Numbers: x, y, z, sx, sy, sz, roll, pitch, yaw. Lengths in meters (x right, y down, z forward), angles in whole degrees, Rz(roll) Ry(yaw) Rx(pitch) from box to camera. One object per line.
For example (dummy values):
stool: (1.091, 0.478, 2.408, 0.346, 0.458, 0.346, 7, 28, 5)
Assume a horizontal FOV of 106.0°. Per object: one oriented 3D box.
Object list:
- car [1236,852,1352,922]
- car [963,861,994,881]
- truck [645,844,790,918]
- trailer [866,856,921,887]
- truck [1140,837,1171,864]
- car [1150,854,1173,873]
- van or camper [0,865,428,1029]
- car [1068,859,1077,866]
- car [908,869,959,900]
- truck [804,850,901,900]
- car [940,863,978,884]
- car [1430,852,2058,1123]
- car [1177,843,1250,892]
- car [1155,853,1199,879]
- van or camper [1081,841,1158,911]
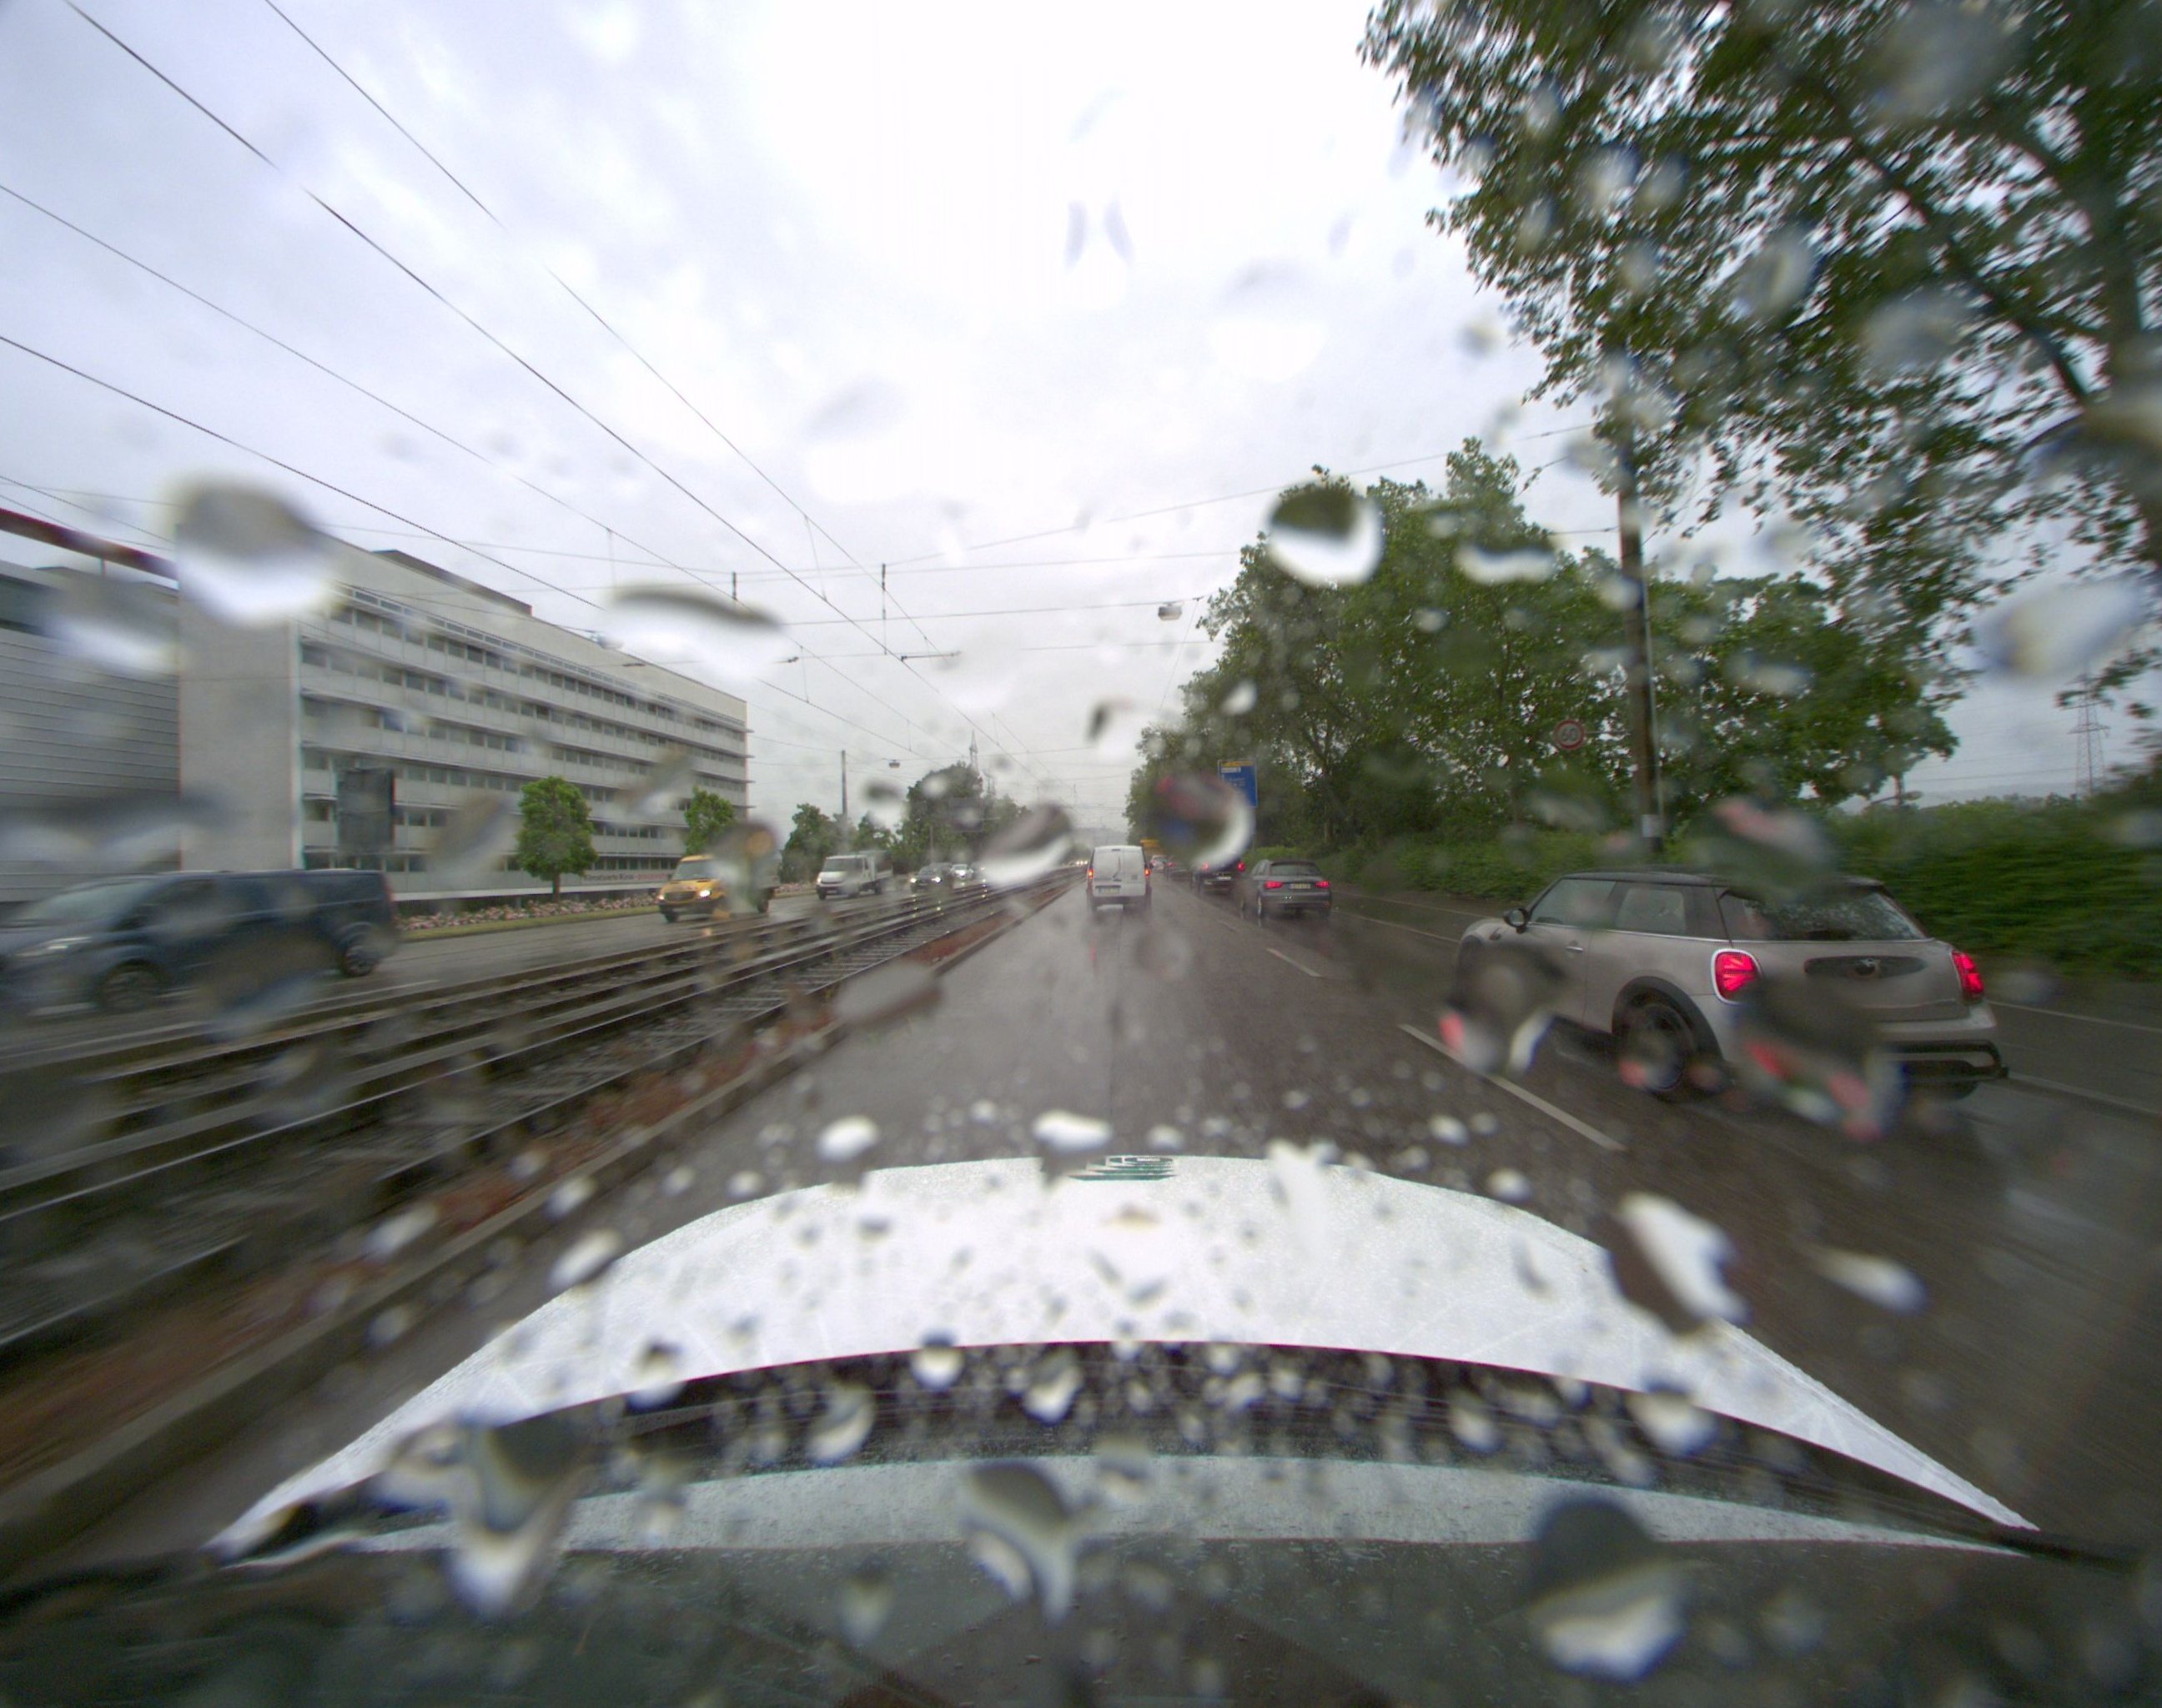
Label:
car: (5.172, 0.736, 20.342, 1.960, 1.528, 3.992, -1, 0, 2)
car: (-9.753, 1.624, 77.975, 1.985, 1.721, 4.886, -3, 0, 3)
truck: (-13.222, 0.923, 30.186, 2.217, 2.462, 6.074, 0, 0, 5)
trailer: (-11.357, 1.054, 49.509, 2.108, 1.793, 3.842, 0, 0, 6)
truck: (7.979, -0.328, 87.901, 3.100, 2.773, 6.334, -1, 0, 3)
car: (6.618, 0.776, 67.306, 1.810, 1.414, 3.782, -1, 0, 4)
van or camper: (-14.157, 1.255, 13.146, 2.294, 2.013, 5.692, -3, -1, 4)
car: (-2.433, 2.432, 233.235, 1.984, 1.618, 4.259, -2, 0, 5)
car: (-8.468, 1.718, 47.168, 1.811, 1.623, 4.540, -2, -1, 3)
truck: (-12.076, 1.068, 43.752, 2.422, 2.458, 7.232, 0, 0, 7)
car: (-10.291, 1.613, 69.179, 1.984, 1.583, 4.773, -3, 0, 5)
car: (4.381, 0.750, 6.297, 1.785, 1.414, 3.854, 1, -1, 1)
car: (5.018, 0.477, 31.500, 1.894, 1.717, 4.722, -1, 0, -2)
car: (5.556, 0.660, 47.365, 1.815, 1.414, 3.772, -1, 0, -5)
van or camper: (1.021, 0.535, 22.988, 1.987, 1.784, 4.001, 0, 1, 1)
